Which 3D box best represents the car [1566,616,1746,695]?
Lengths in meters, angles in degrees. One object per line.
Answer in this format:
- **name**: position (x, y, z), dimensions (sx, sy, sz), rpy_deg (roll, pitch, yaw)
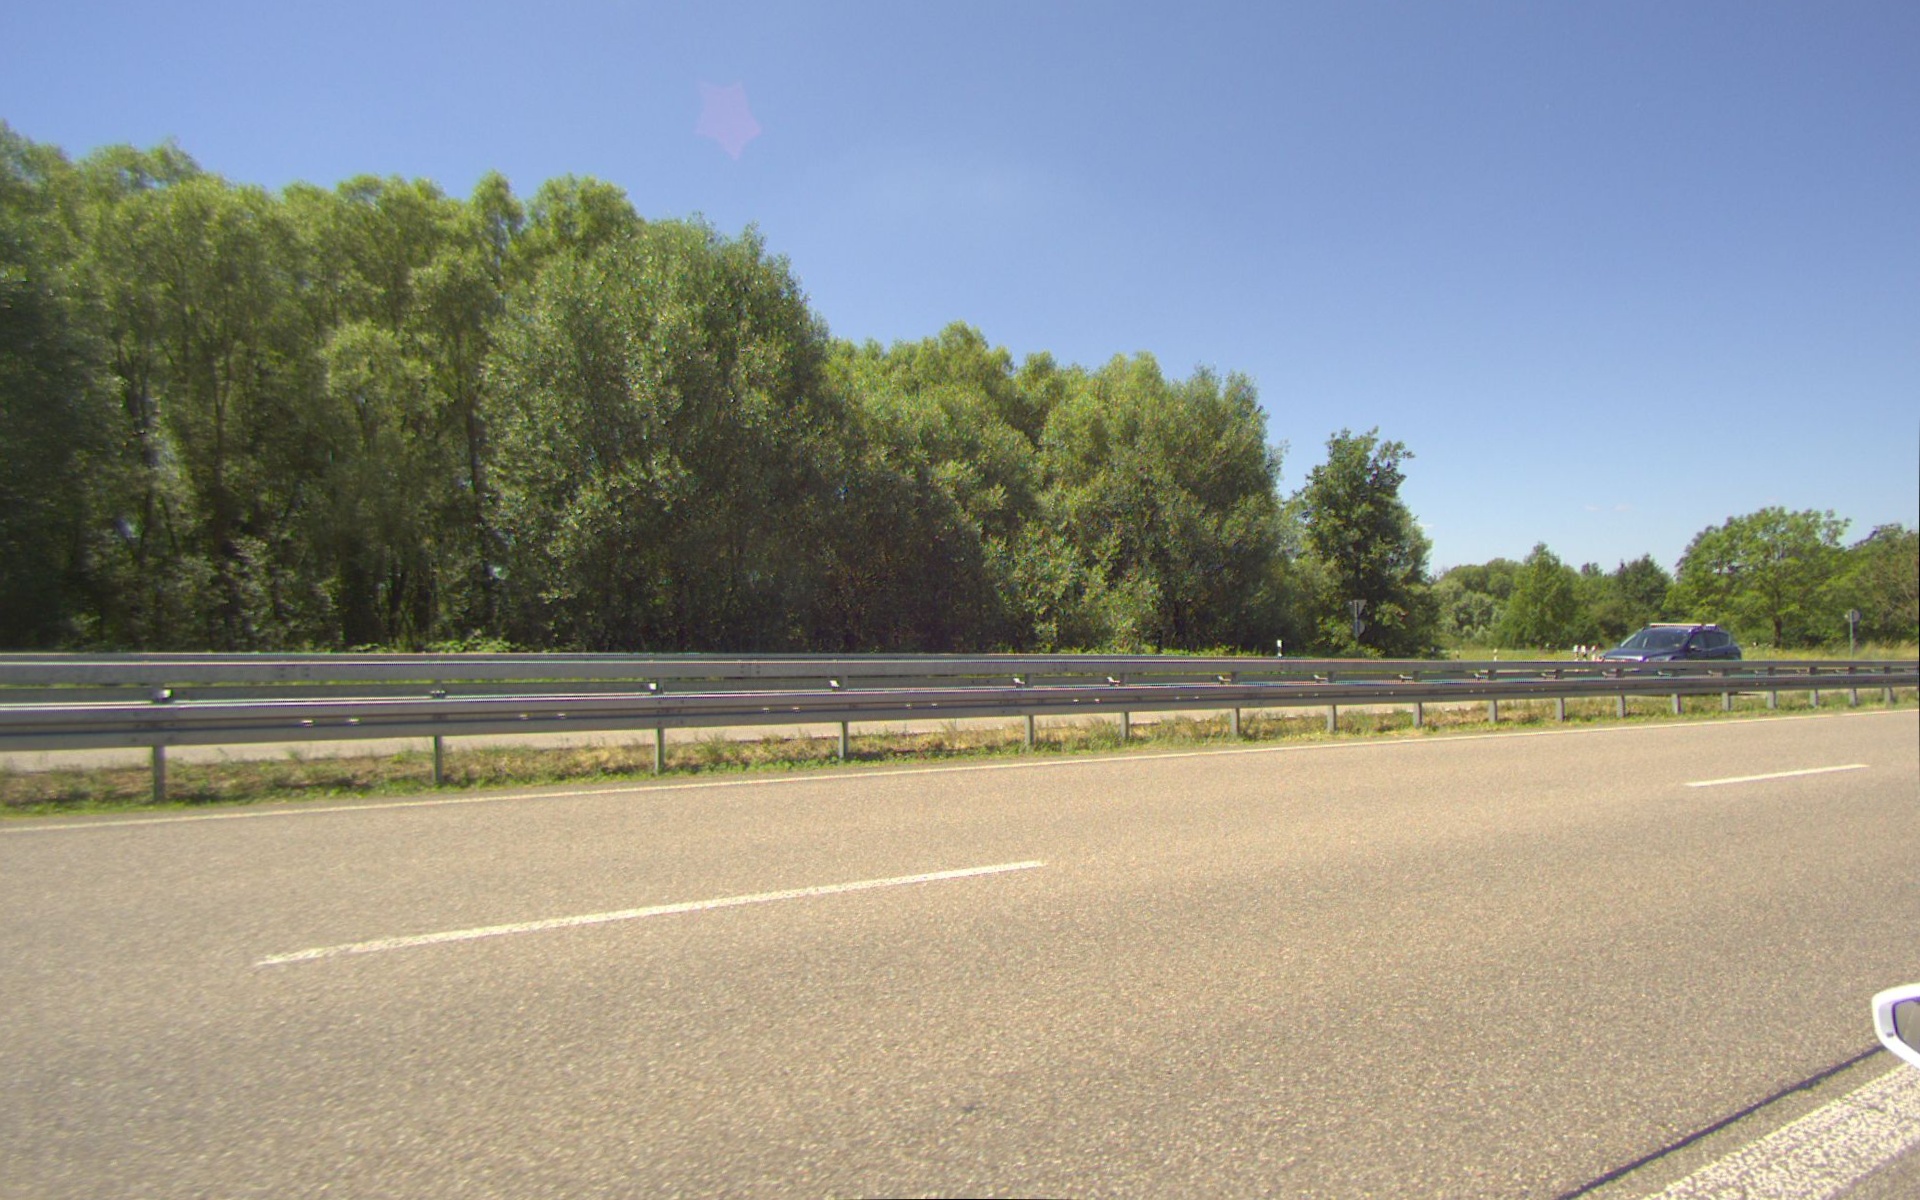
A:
- **car**: position (17.558, 1.370, 25.303), dimensions (4.601, 1.854, 1.856), rpy_deg (2, -1, -28)
